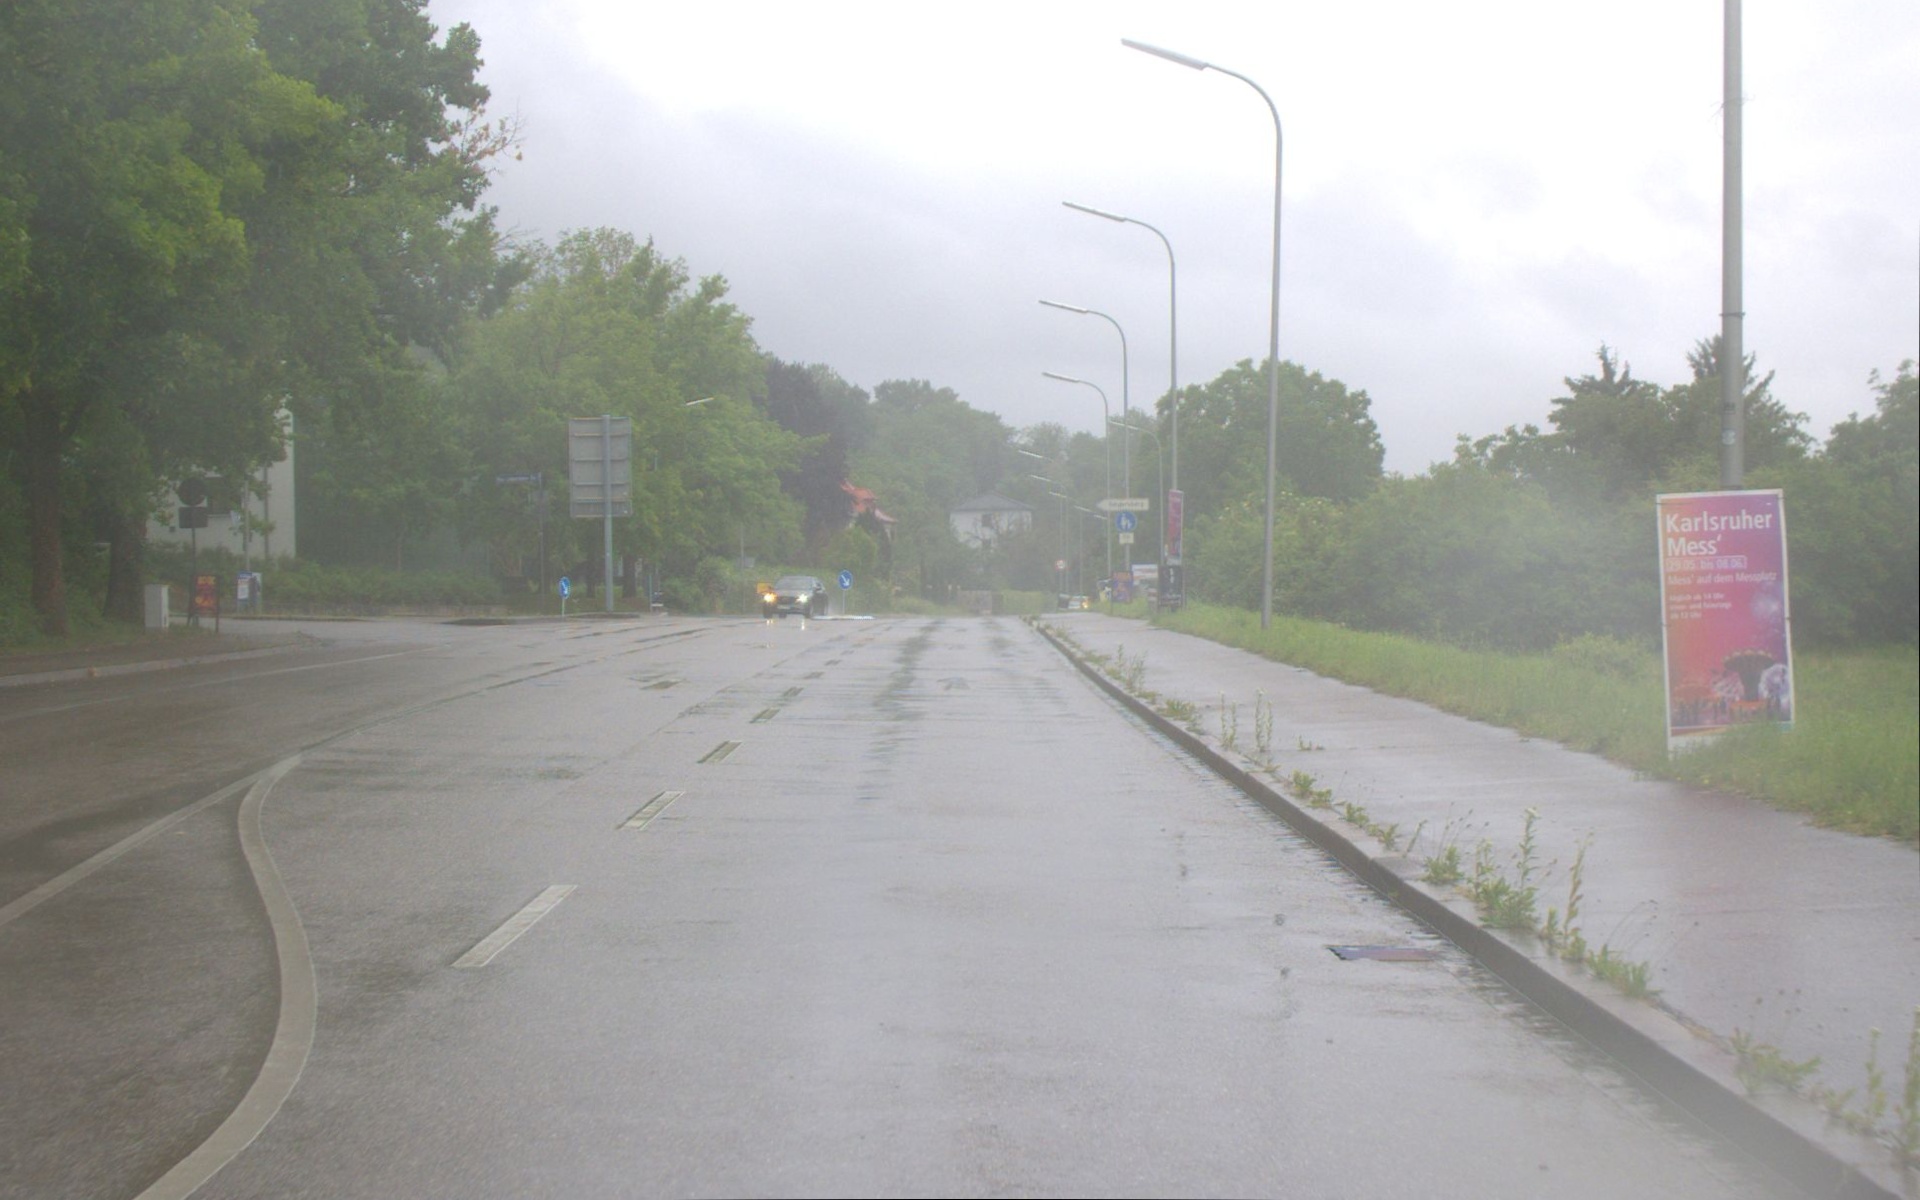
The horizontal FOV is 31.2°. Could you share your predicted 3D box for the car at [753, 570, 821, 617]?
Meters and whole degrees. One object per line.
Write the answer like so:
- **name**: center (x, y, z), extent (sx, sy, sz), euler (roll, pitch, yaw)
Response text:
- **car**: center (-6.602, -0.274, 131.822), extent (1.795, 1.756, 3.999), euler (1, 1, 9)
